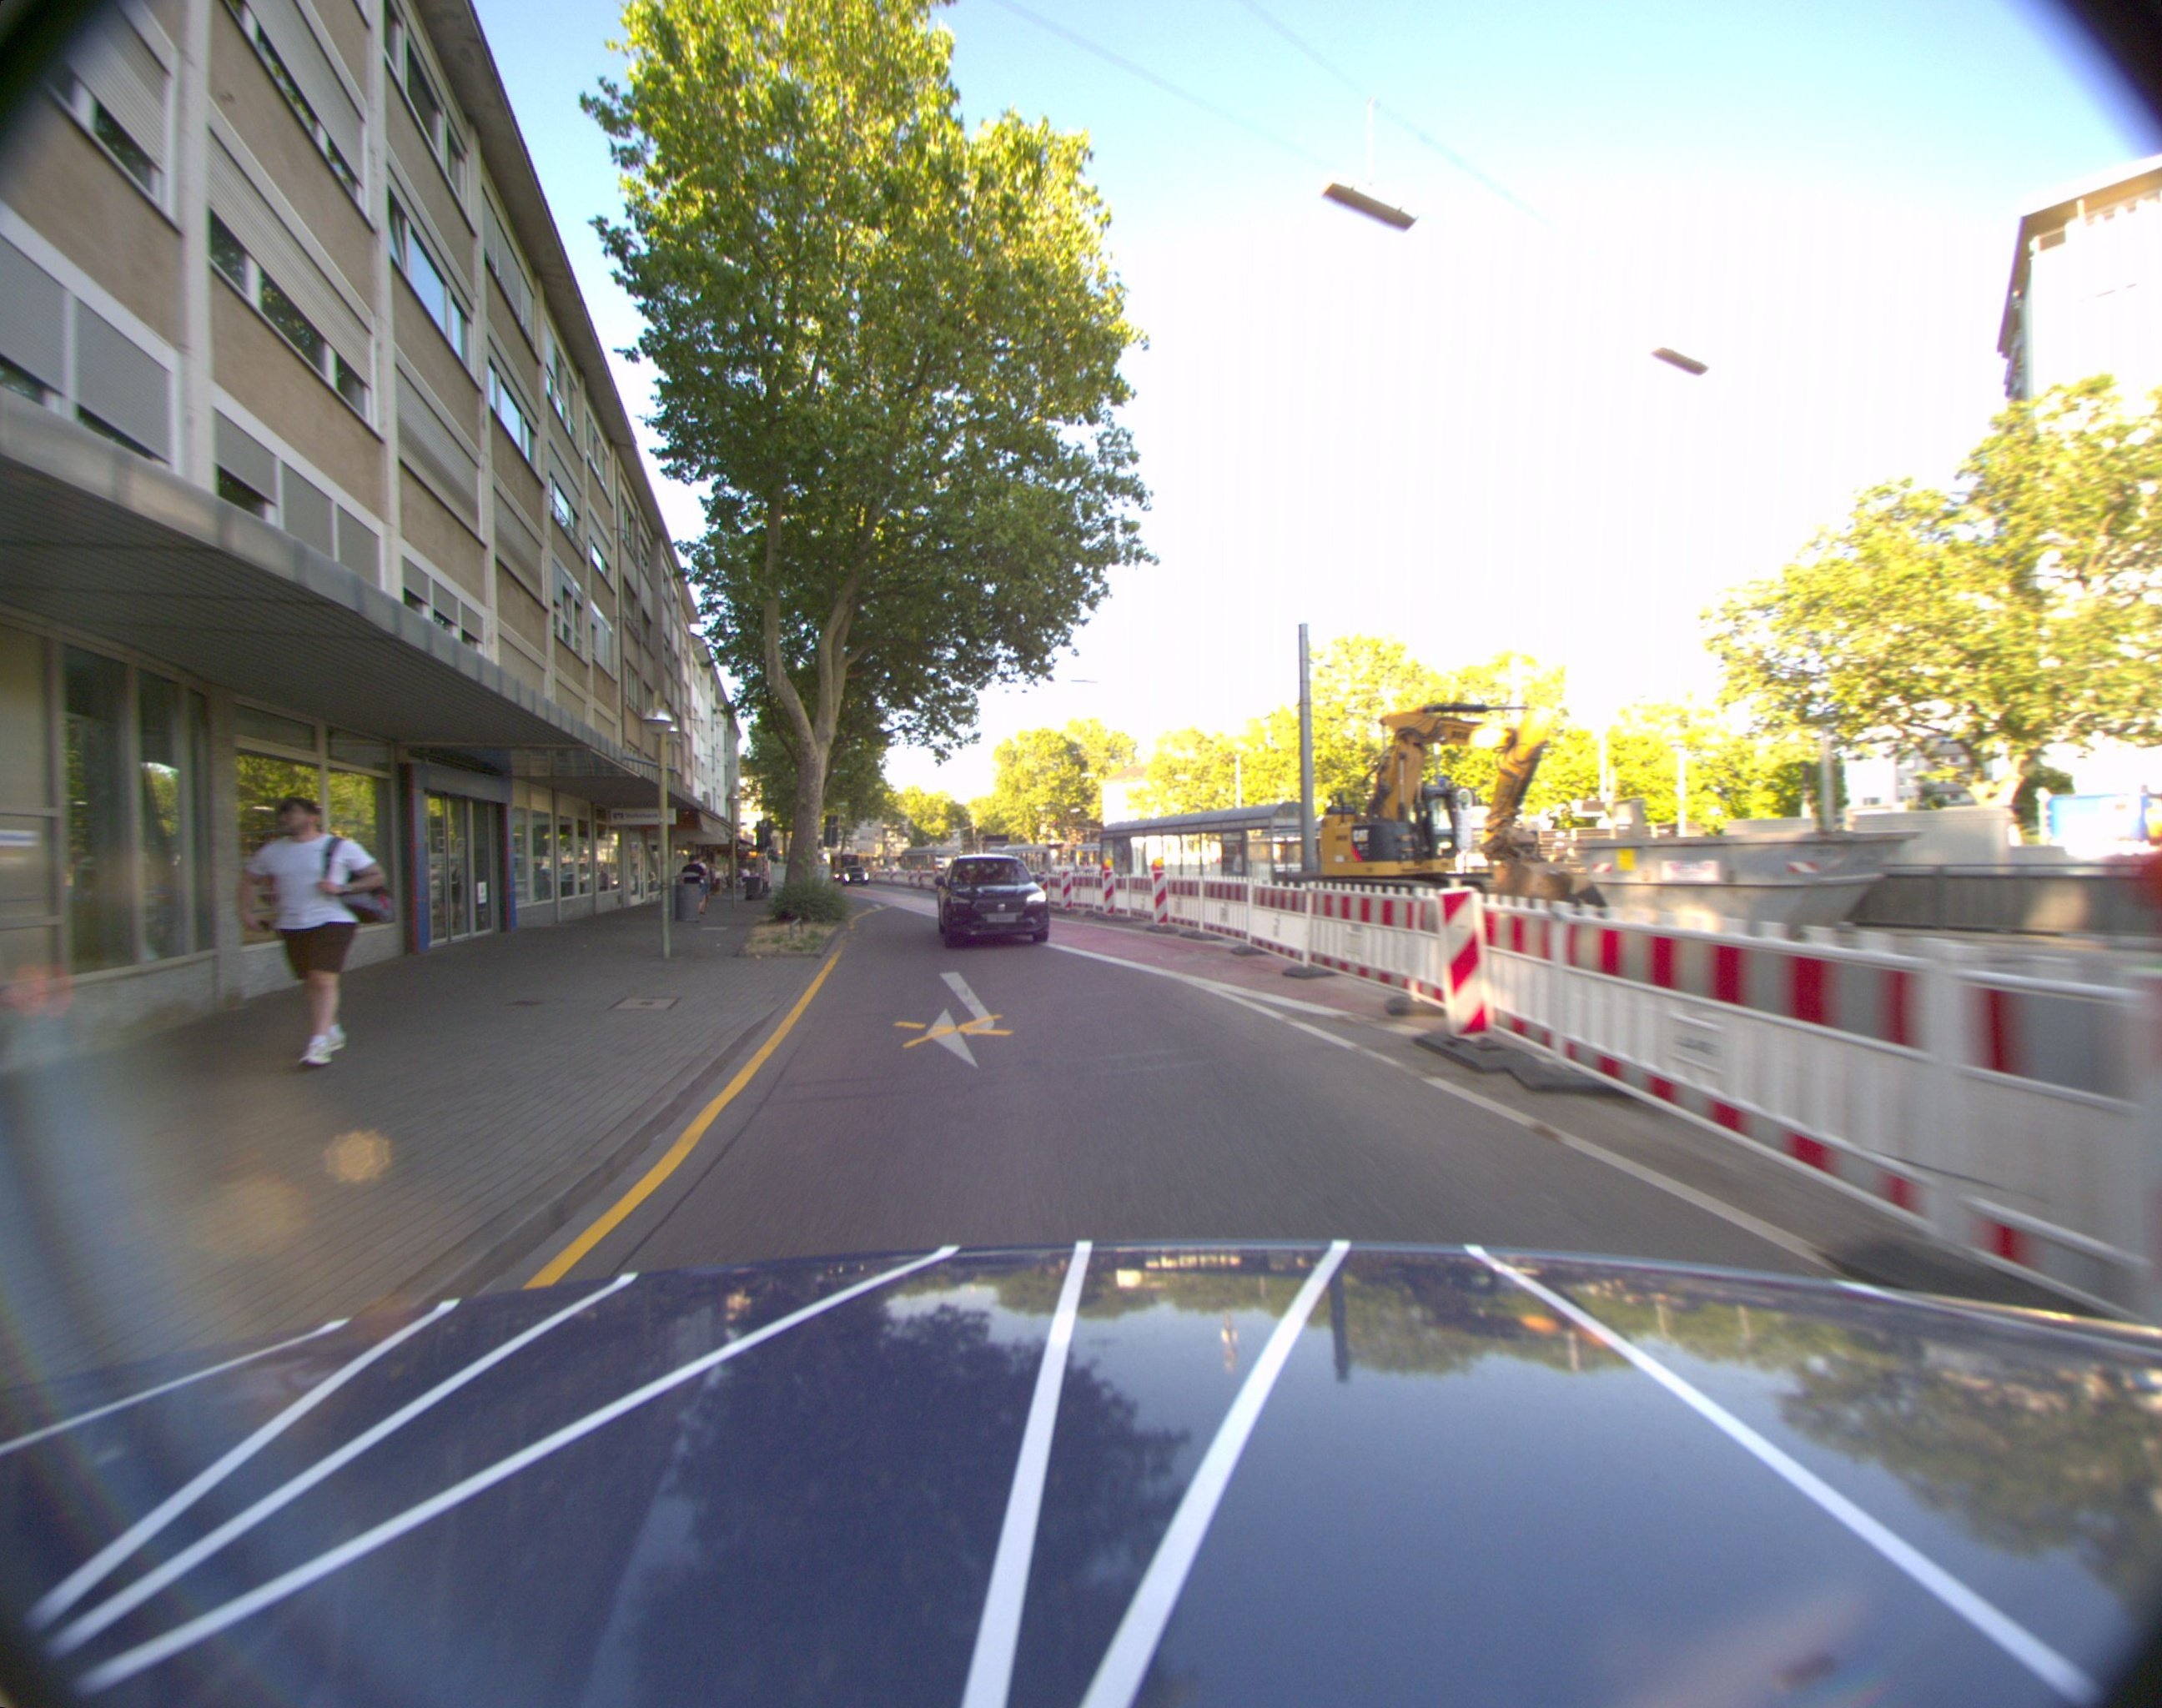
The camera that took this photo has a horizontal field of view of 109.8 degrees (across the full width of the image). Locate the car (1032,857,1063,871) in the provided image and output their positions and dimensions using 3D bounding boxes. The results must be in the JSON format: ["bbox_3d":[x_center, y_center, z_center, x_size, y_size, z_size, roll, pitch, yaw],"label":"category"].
[{"bbox_3d":[-3.949,1.132,89.552,1.686,1.565,3.382,-2,0,-45],"label":"car"}]

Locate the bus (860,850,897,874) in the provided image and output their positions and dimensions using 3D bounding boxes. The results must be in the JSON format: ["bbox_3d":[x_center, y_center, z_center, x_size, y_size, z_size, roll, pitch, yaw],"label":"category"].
[{"bbox_3d":[-29.721,1.120,112.134,2.739,3.188,12.358,-3,0,-3],"label":"bus"}]

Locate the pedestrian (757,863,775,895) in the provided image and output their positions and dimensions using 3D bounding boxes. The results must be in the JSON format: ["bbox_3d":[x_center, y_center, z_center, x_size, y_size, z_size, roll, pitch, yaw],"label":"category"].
[{"bbox_3d":[-17.113,1.360,41.321,0.554,1.663,0.649,-1,1,39],"label":"pedestrian"}]

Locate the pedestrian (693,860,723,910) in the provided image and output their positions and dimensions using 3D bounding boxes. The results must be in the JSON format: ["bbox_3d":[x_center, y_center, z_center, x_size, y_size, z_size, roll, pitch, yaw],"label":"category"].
[{"bbox_3d":[-12.658,1.027,25.819,0.847,1.663,0.988,0,-1,-21],"label":"pedestrian"}]

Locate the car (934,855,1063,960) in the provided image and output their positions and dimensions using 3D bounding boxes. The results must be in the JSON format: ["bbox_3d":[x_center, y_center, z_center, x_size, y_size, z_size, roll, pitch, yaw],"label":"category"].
[{"bbox_3d":[-1.759,0.909,14.812,2.000,1.637,4.200,-3,0,-12],"label":"car"}]

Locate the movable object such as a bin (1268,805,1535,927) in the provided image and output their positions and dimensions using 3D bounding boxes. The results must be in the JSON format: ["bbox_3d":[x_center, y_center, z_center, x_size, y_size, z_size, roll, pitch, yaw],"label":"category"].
[{"bbox_3d":[6.912,0.236,17.029,2.655,2.304,4.892,-2,0,-27],"label":"movable object such as a bin"}]

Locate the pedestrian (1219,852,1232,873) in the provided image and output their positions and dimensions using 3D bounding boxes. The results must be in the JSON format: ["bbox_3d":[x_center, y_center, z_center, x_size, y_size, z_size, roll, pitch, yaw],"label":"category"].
[{"bbox_3d":[13.850,0.800,72.803,0.885,2.002,0.885,-2,0,-30],"label":"pedestrian"}]

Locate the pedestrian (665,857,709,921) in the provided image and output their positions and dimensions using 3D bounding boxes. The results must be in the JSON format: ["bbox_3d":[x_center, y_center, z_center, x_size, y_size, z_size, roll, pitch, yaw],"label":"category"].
[{"bbox_3d":[-10.695,0.948,20.669,0.903,1.687,1.069,2,-1,-21],"label":"pedestrian"}]

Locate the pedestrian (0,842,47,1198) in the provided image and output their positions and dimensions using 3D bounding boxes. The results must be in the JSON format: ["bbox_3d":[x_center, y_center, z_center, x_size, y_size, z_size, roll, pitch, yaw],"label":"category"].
[{"bbox_3d":[-5.376,0.781,3.366,0.585,1.698,0.678,2,-1,-11],"label":"pedestrian"}]

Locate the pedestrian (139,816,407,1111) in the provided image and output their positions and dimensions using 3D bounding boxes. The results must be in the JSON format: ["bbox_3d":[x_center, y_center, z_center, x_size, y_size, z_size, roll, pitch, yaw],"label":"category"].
[{"bbox_3d":[-5.703,0.720,5.474,0.841,1.858,1.097,3,-2,-21],"label":"pedestrian"}]

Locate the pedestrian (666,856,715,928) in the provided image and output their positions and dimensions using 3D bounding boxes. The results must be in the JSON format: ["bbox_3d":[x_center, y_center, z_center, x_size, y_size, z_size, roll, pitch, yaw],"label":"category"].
[{"bbox_3d":[-9.686,0.931,18.870,0.903,1.700,1.069,3,-1,-21],"label":"pedestrian"}]

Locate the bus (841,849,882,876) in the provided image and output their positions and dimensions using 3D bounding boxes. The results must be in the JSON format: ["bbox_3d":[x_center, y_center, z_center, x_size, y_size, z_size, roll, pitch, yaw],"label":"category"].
[{"bbox_3d":[-28.921,1.096,100.767,2.739,3.188,12.301,-3,0,-5],"label":"bus"}]

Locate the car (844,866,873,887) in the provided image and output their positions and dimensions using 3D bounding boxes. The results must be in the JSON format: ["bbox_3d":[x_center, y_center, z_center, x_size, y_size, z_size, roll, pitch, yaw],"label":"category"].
[{"bbox_3d":[-18.471,1.837,62.961,2.002,1.575,4.612,-3,-1,-20],"label":"car"}]
